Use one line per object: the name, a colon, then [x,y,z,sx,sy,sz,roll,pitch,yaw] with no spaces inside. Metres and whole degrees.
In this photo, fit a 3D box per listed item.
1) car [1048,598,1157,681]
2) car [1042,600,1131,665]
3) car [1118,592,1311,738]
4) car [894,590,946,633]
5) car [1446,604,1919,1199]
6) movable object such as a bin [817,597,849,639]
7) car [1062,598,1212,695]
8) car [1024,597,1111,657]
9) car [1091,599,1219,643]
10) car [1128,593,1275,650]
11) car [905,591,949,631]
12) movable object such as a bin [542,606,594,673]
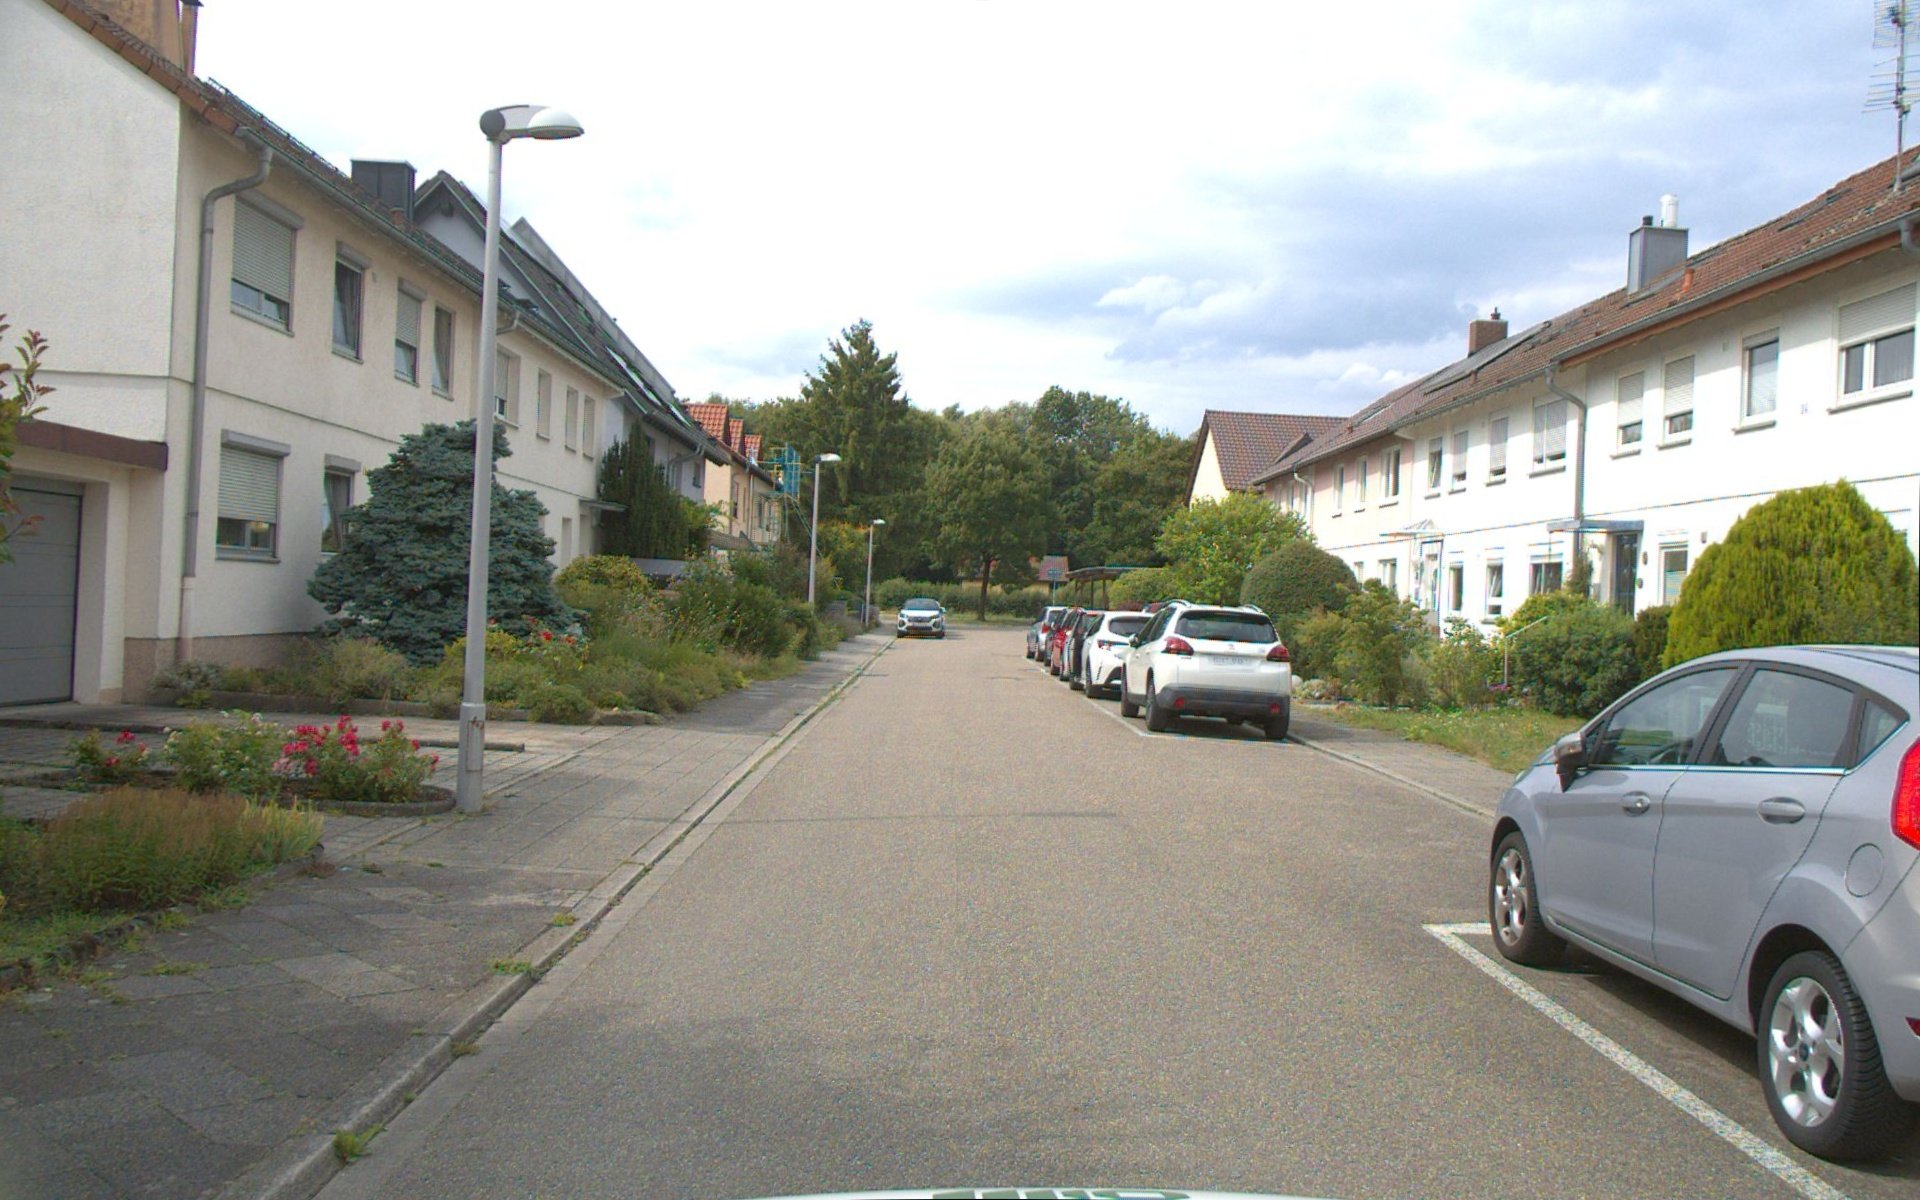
car: [2.875,0.761,34.324,1.738,1.460,4.825,4,0,0]
car: [2.941,0.720,39.159,1.736,1.379,4.265,2,0,0]
car: [3.126,0.739,21.031,1.679,1.570,3.973,4,0,-1]
car: [-1.540,0.421,65.497,1.894,1.583,4.634,2,0,0]
car: [3.383,0.801,6.216,1.862,1.485,4.129,2,0,0]
movable object such as a bin: [-4.111,0.570,53.594,0.930,1.335,1.000,1,0,-2]
car: [2.924,0.732,28.309,1.801,1.437,4.634,2,0,-3]
car: [2.837,0.699,44.656,1.827,1.441,4.251,2,0,-3]
car: [7.077,0.753,60.434,4.361,1.458,2.026,2,0,-3]
car: [7.344,0.644,50.532,4.183,1.587,1.934,1,0,0]
car: [-1.403,0.442,70.898,1.773,1.589,4.847,2,0,-1]
movable object such as a bin: [-6.221,0.623,26.272,0.661,1.025,0.598,1,0,-1]
